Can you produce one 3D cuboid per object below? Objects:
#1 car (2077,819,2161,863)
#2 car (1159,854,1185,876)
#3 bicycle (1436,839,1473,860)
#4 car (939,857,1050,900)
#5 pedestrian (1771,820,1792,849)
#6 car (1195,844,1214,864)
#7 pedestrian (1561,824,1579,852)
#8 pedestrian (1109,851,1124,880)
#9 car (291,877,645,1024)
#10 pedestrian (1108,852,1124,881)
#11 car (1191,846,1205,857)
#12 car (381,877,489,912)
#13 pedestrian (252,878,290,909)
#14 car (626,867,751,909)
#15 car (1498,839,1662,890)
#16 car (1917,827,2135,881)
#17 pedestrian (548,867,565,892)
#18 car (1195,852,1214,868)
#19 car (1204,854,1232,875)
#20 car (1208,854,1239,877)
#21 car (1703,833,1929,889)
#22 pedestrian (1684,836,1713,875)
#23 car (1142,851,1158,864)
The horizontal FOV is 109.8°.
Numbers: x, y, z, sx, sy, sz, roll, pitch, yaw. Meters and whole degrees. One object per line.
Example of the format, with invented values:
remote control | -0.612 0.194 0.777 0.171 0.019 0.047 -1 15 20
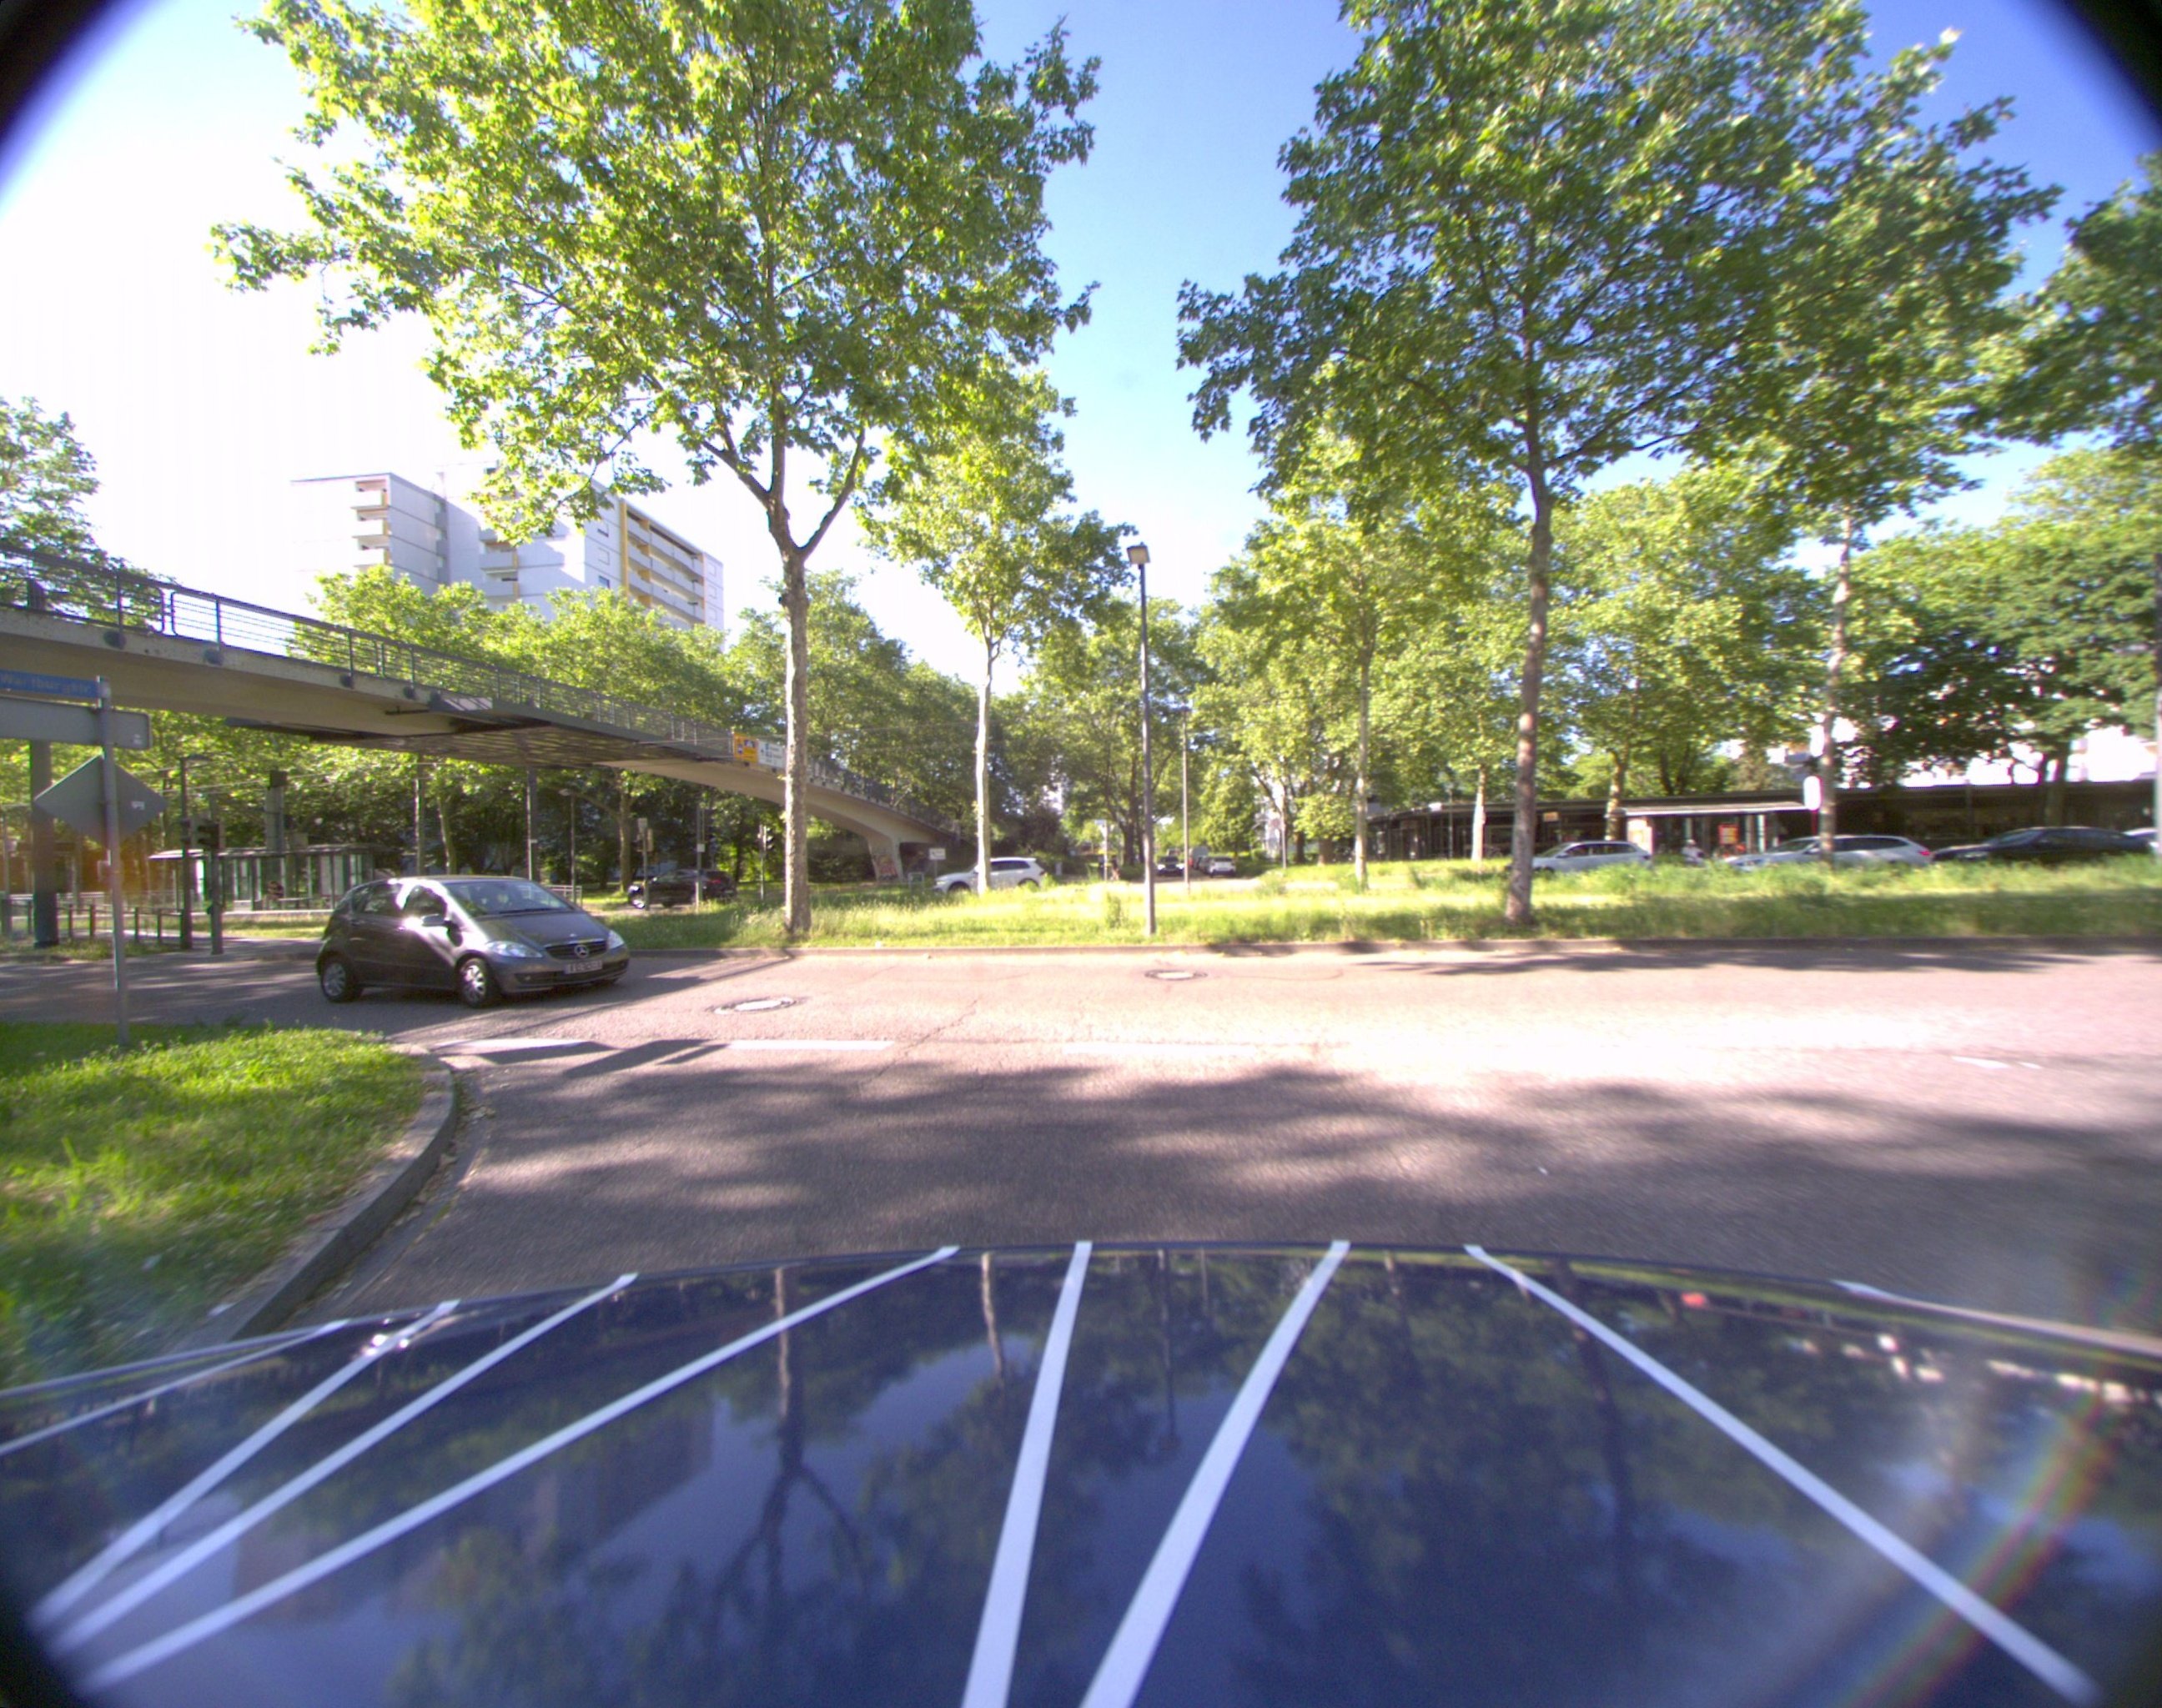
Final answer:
car | 38.047 -0.495 26.448 1.803 1.501 3.990 -2 0 -34
car | 6.898 0.821 57.596 1.798 1.501 4.002 -2 0 7
bicycle | 21.193 -0.266 43.135 1.798 1.101 0.556 -2 1 4
car | -3.446 0.933 30.223 4.090 1.501 1.797 -2 0 -18
pedestrian | 41.002 -1.145 44.484 0.649 1.651 0.650 -2 1 7
car | 15.201 -0.013 94.032 2.060 2.422 5.011 -2 0 7
pedestrian | 29.246 -0.955 45.454 0.649 1.651 0.650 -2 1 7
pedestrian | 2.181 0.711 46.545 0.648 1.773 0.651 -2 1 33
car | -7.993 1.176 9.982 3.755 1.580 1.802 -2 1 18
pedestrian | 2.103 0.757 45.608 0.648 1.695 0.651 -2 1 33
car | 16.642 -0.302 108.377 1.863 1.501 4.002 -2 0 7
car | -31.894 1.998 37.551 4.280 1.557 1.802 -2 0 12
pedestrian | -33.565 1.634 31.483 0.721 1.230 0.781 -2 1 11
car | -16.254 1.407 31.561 4.282 1.557 1.801 -2 0 7
car | 16.788 0.357 25.796 4.280 1.571 1.802 -2 0 13
car | 29.471 0.007 23.846 3.993 1.501 1.802 -2 0 14
pedestrian | -35.042 1.714 50.768 0.649 1.652 0.651 -2 1 13
car | 12.787 0.593 78.902 1.798 1.501 4.002 -2 0 7
car | 10.393 0.748 57.750 1.798 1.501 4.002 -2 0 7
car | 9.699 0.751 52.078 1.798 1.501 4.002 -2 0 7
car | 22.021 0.211 22.957 4.668 1.501 1.801 -2 0 10
pedestrian | 23.805 0.051 29.302 0.649 1.451 0.651 -2 1 14
car | 8.641 0.443 94.493 1.798 1.501 4.002 -2 0 7
